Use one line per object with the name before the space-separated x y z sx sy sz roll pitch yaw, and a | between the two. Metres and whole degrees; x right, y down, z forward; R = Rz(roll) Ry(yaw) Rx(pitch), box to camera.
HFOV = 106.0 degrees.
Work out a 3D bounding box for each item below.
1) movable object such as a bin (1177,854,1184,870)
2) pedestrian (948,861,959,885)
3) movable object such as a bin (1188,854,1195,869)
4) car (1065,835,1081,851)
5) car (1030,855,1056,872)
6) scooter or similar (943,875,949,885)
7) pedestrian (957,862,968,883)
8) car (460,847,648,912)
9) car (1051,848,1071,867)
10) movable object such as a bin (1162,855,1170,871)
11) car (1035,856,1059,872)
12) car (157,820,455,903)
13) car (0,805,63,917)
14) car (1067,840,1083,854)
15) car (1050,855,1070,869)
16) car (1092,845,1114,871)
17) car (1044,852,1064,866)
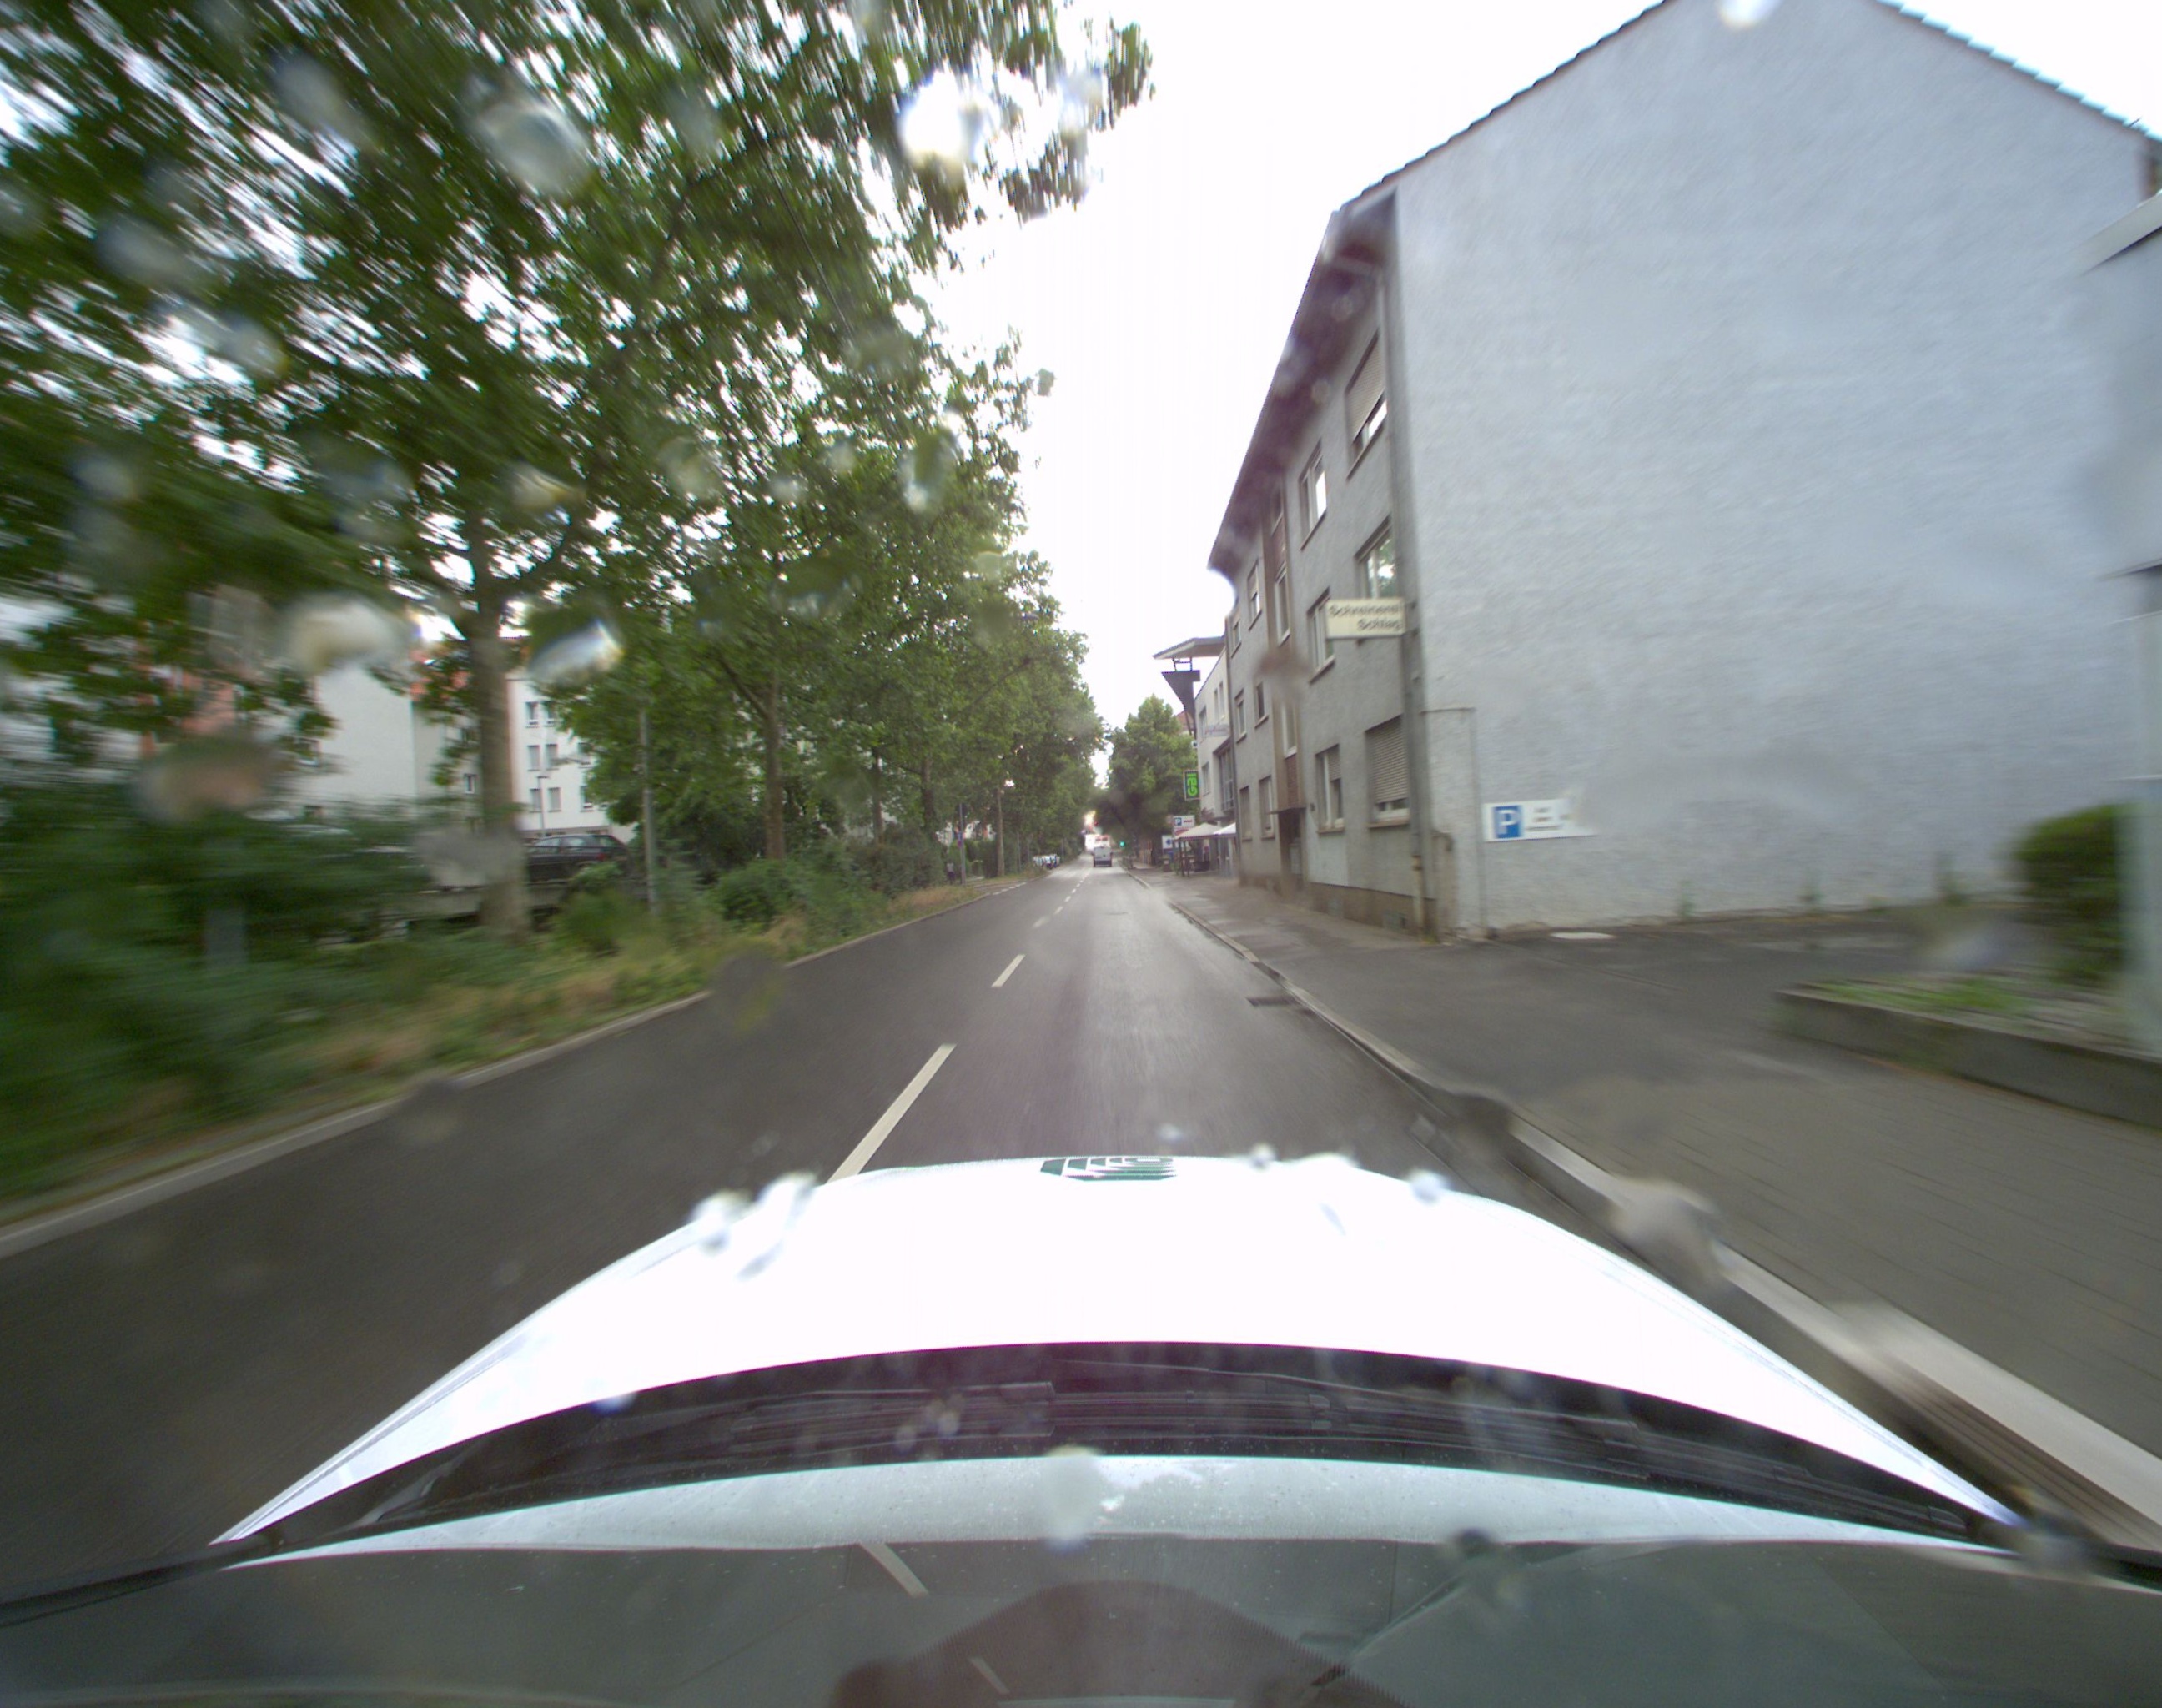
movable object such as a bin | 7.013 0.558 57.245 0.399 1.067 0.358 -2 -2 -5
pedestrian | -8.854 1.313 56.677 0.637 1.612 0.623 -1 -2 -1
movable object such as a bin | 7.763 0.515 57.284 0.356 1.067 0.358 -1 -2 -5
car | -1.338 -1.810 131.828 2.206 2.294 4.613 -1 -2 4
car | -4.028 1.019 86.482 2.206 1.592 4.613 -1 -2 4
scooter or similar | -9.399 1.795 56.624 0.306 0.681 0.388 -1 -2 -1
pedestrian | -8.604 1.344 59.171 0.679 1.571 0.623 -1 -1 -1
car | -14.733 0.710 22.941 3.973 1.671 2.000 -1 -2 0
car | -2.696 0.509 110.973 2.206 2.534 4.613 -1 -2 4
movable object such as a bin | 5.963 0.653 57.239 0.399 1.066 0.358 -6 -2 -5
car | -3.827 1.171 92.904 2.206 1.729 4.613 -1 -2 4
car | -14.988 0.142 15.929 3.975 1.374 1.830 -2 0 -1
car | -14.923 0.175 9.179 4.431 1.322 1.857 -2 0 -1
car | -0.943 -1.180 139.342 2.205 2.294 4.615 -1 -2 5
car | -2.725 1.113 105.749 2.206 1.691 4.613 -1 -2 4
car | 2.402 0.471 89.563 2.274 2.553 4.001 -2 -2 2
car | -3.320 0.609 99.613 1.986 1.543 4.613 -1 -2 4
